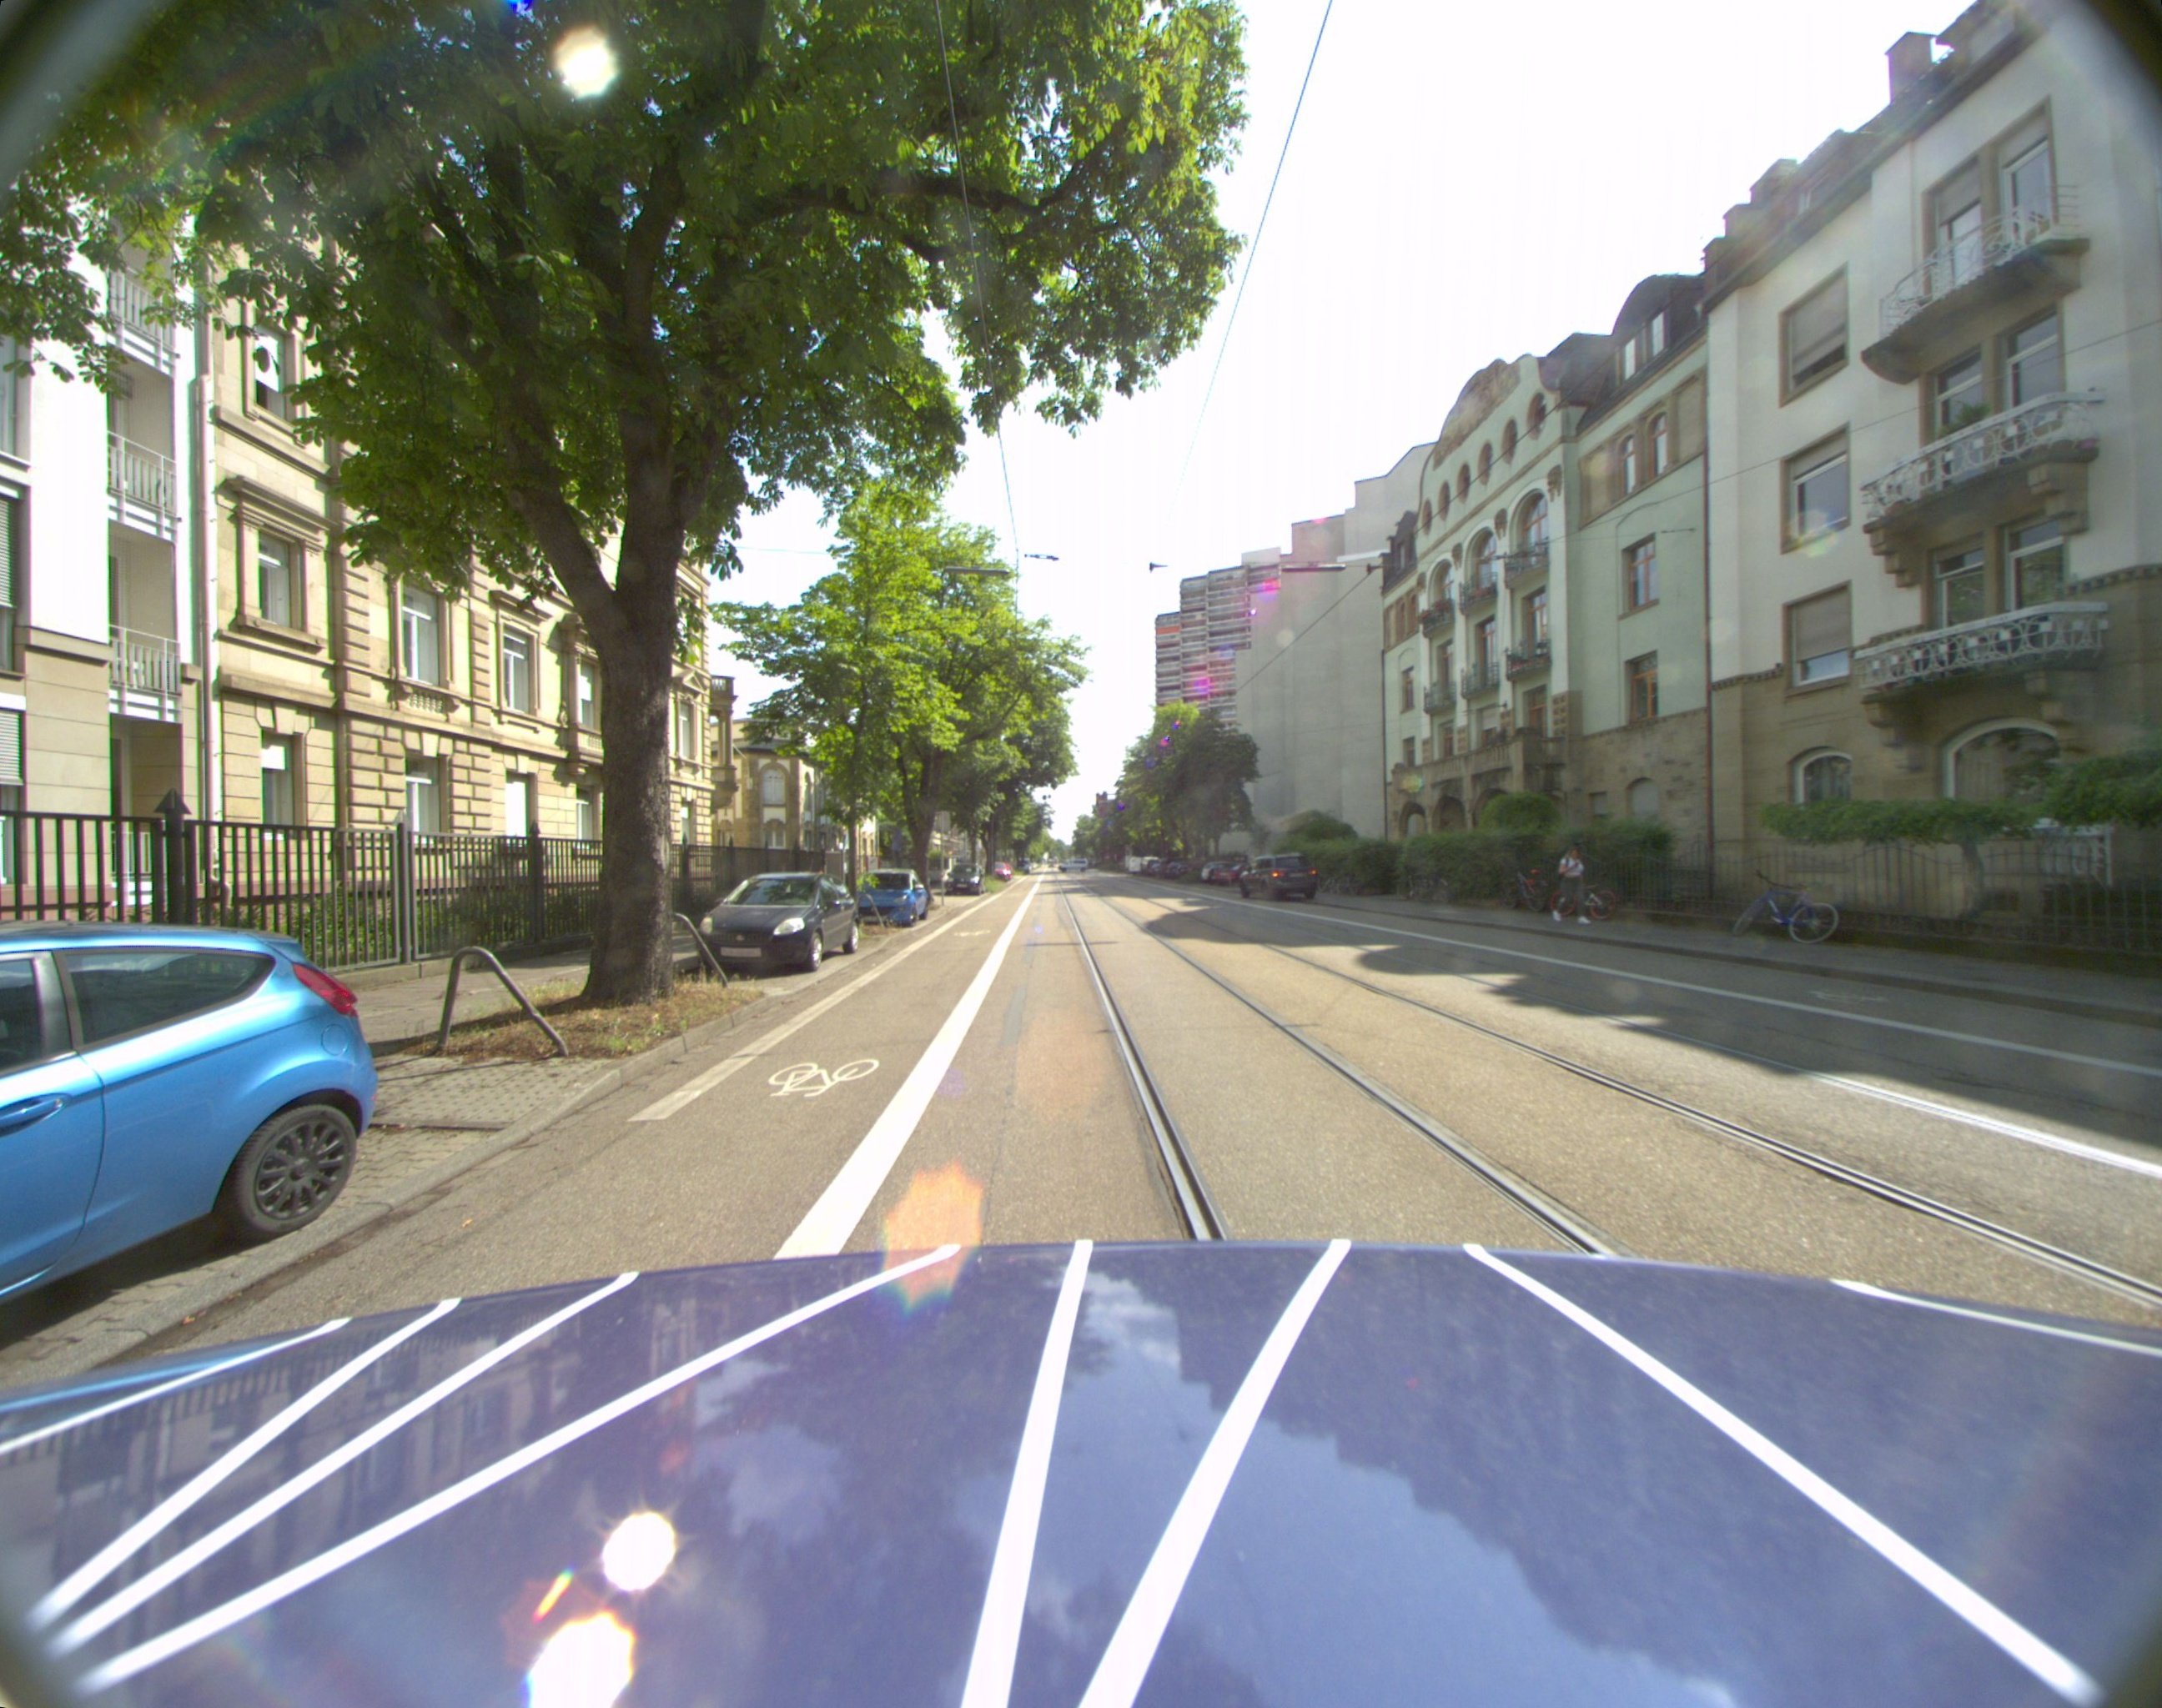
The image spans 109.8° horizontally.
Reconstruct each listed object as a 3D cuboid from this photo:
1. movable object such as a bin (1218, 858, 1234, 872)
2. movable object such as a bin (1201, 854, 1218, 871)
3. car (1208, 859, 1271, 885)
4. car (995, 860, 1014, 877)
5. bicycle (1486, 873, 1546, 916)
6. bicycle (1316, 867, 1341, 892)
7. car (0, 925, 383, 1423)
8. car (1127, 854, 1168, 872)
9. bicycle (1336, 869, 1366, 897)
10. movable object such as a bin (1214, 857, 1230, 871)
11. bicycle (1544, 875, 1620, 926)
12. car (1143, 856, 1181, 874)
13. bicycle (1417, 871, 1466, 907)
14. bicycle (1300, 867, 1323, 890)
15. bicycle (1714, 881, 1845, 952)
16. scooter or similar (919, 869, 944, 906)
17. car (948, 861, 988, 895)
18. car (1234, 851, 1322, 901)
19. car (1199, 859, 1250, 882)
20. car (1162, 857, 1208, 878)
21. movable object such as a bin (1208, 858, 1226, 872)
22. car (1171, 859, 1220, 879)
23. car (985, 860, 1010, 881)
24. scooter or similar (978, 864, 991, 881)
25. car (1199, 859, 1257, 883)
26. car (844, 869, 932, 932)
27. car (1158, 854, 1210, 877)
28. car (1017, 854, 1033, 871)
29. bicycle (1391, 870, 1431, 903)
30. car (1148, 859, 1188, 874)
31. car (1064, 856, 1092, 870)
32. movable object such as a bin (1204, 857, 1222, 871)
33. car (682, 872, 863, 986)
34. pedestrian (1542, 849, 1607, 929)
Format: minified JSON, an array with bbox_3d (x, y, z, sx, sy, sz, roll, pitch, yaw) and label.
[{"bbox_3d":[13.854,1.019,72.586,1.171,1.276,1.441,2,0,-3],"label":"movable object such as a bin"},{"bbox_3d":[13.656,0.882,80.965,1.391,1.771,1.538,2,0,-6],"label":"movable object such as a bin"},{"bbox_3d":[9.682,1.090,46.245,1.841,1.475,3.979,1,0,45],"label":"car"},{"bbox_3d":[-7.072,1.326,69.985,1.605,1.420,3.593,2,0,-8],"label":"car"},{"bbox_3d":[10.711,0.976,18.763,0.384,0.953,1.801,-3,0,-1],"label":"bicycle"},{"bbox_3d":[10.193,1.051,31.387,0.384,0.953,1.810,-3,0,-1],"label":"bicycle"},{"bbox_3d":[-4.320,1.105,1.938,1.628,1.487,3.847,1,0,-2],"label":"car"},{"bbox_3d":[7.479,0.967,84.922,4.696,1.985,1.963,0,0,-44],"label":"car"},{"bbox_3d":[10.273,1.088,28.936,0.384,0.953,1.921,-3,0,-1],"label":"bicycle"},{"bbox_3d":[13.774,0.988,74.055,1.167,1.319,1.441,2,0,-4],"label":"movable object such as a bin"},{"bbox_3d":[10.684,0.972,16.276,0.384,0.970,1.801,-3,0,-1],"label":"bicycle"},{"bbox_3d":[8.057,1.118,75.267,1.755,1.683,3.724,1,0,44],"label":"car"},{"bbox_3d":[10.487,0.992,22.134,0.452,0.953,1.800,-3,0,-3],"label":"bicycle"},{"bbox_3d":[10.132,1.074,33.477,0.384,0.953,1.810,-3,0,-1],"label":"bicycle"},{"bbox_3d":[10.851,0.937,11.880,0.427,0.953,1.705,-3,0,-1],"label":"bicycle"},{"bbox_3d":[-5.425,1.197,27.534,0.443,1.291,1.179,3,-2,-33],"label":"scooter or similar"},{"bbox_3d":[-5.796,1.197,39.324,1.701,1.581,4.201,1,0,-4],"label":"car"},{"bbox_3d":[7.517,0.810,29.534,1.790,1.752,4.881,-1,0,-5],"label":"car"},{"bbox_3d":[9.922,1.149,52.507,1.692,1.475,3.816,1,0,42],"label":"car"},{"bbox_3d":[8.567,1.110,62.300,1.736,1.583,4.009,1,0,43],"label":"car"},{"bbox_3d":[13.908,1.077,77.569,1.391,1.356,1.538,2,0,-6],"label":"movable object such as a bin"},{"bbox_3d":[8.992,1.159,59.365,4.009,1.475,1.736,2,0,-45],"label":"car"},{"bbox_3d":[-6.751,1.307,62.097,1.881,1.666,4.280,1,0,-5],"label":"car"},{"bbox_3d":[-6.851,1.297,53.861,0.341,1.230,1.261,2,0,22],"label":"scooter or similar"},{"bbox_3d":[9.590,1.119,49.328,3.816,1.475,1.693,2,0,-42],"label":"car"},{"bbox_3d":[-5.069,1.165,20.342,1.644,1.487,3.625,0,0,-4],"label":"car"},{"bbox_3d":[8.998,1.009,65.923,1.911,1.942,5.180,1,0,42],"label":"car"},{"bbox_3d":[-9.216,1.345,125.481,2.338,2.545,5.388,-4,0,-3],"label":"car"},{"bbox_3d":[10.486,1.015,24.185,0.384,0.953,1.921,-3,0,-1],"label":"bicycle"},{"bbox_3d":[8.224,1.182,71.949,1.755,1.409,4.009,1,0,42],"label":"car"},{"bbox_3d":[-0.416,1.412,121.881,4.232,1.840,1.893,-4,1,2],"label":"car"},{"bbox_3d":[13.775,1.050,79.220,1.391,1.356,1.538,2,0,-6],"label":"movable object such as a bin"},{"bbox_3d":[-4.768,1.076,12.316,1.644,1.487,3.756,0,0,-4],"label":"car"},{"bbox_3d":[10.083,0.698,15.548,0.681,1.559,0.882,-3,0,0],"label":"pedestrian"}]
